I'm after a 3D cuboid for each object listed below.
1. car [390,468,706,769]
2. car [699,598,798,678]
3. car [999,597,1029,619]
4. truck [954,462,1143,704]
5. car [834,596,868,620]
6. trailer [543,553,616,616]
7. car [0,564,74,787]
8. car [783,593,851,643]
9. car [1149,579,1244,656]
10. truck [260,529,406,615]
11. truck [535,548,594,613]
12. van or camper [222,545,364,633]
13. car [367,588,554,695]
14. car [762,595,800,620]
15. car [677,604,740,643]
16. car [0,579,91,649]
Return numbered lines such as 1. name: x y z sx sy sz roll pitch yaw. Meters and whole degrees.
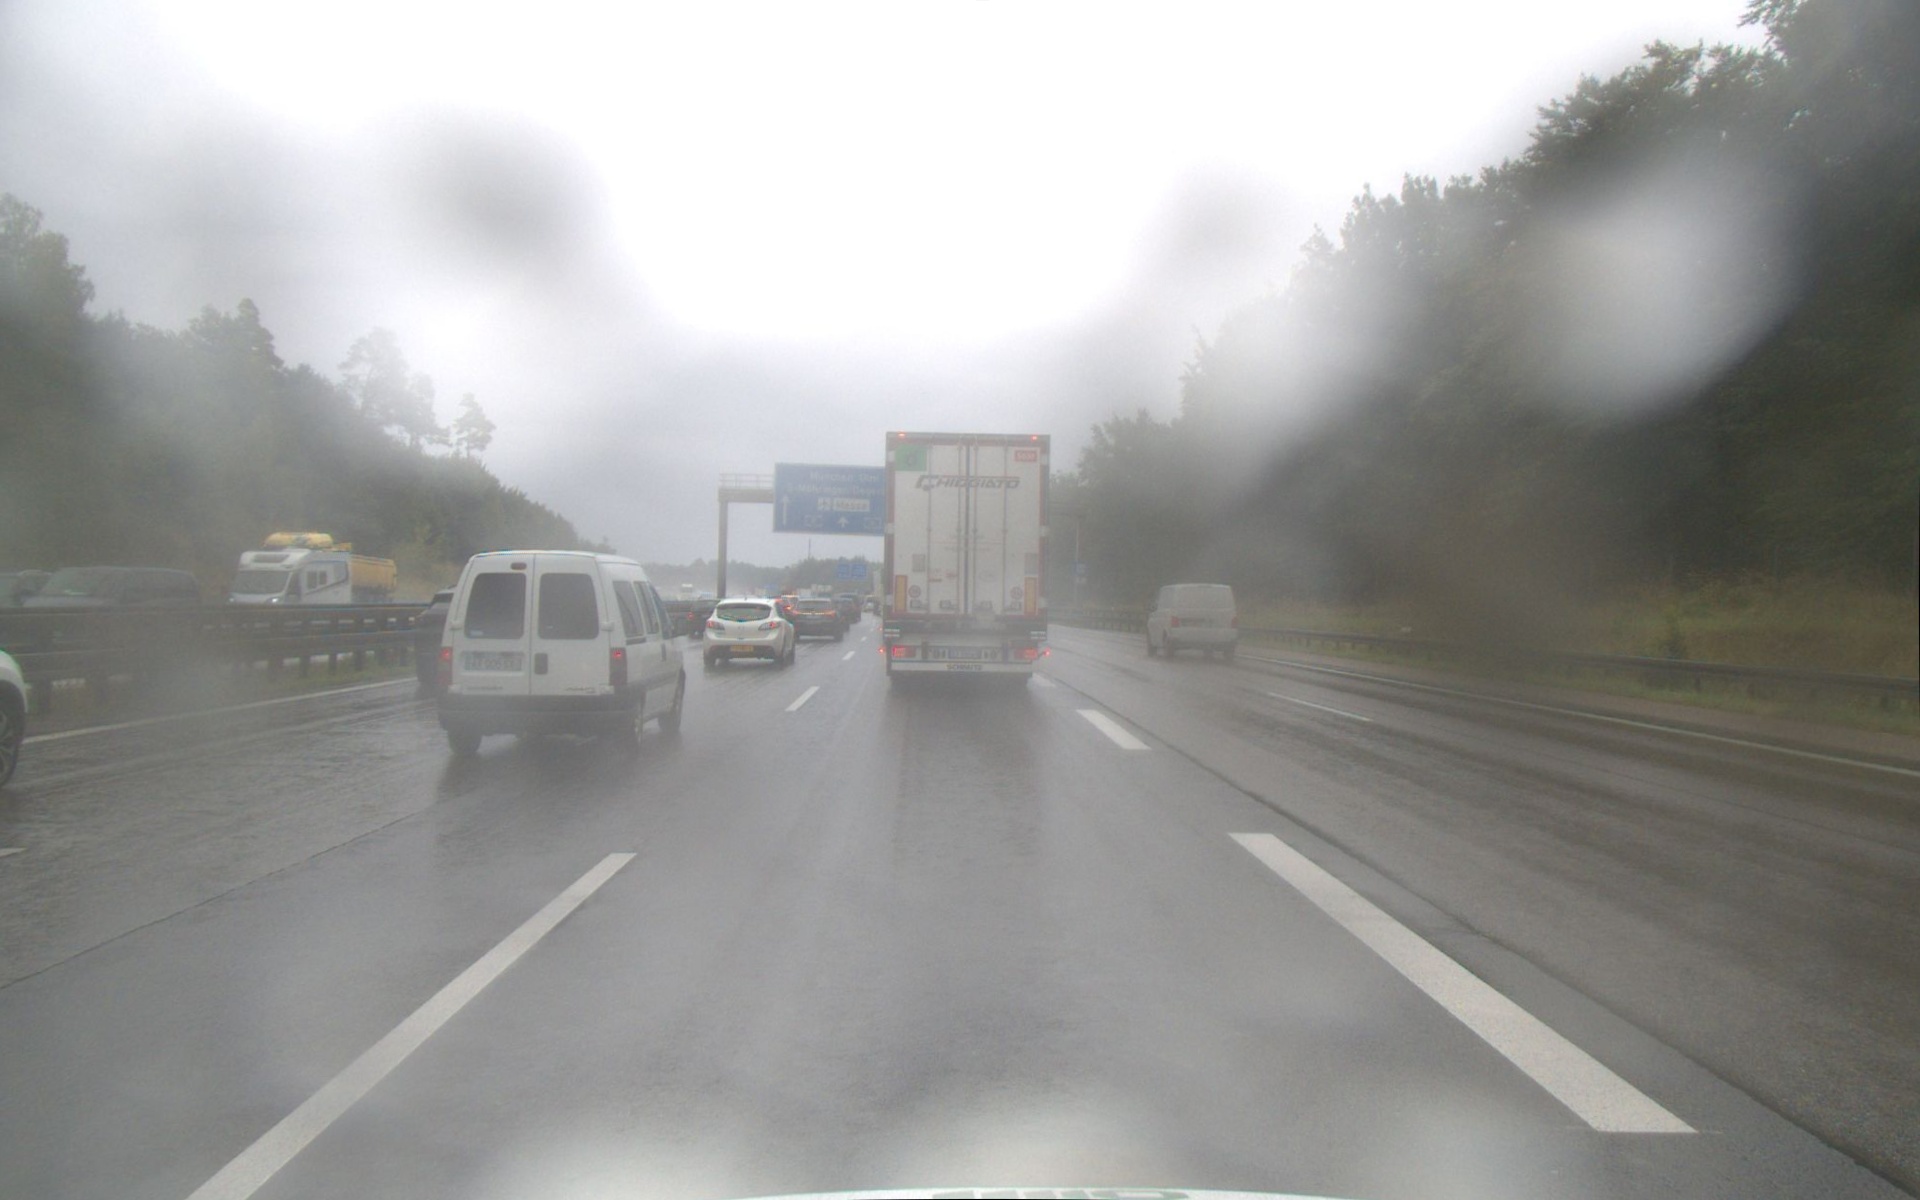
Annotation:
1. car: -4.002 0.140 17.061 2.168 2.618 5.013 1 0 -3
2. car: -4.666 0.797 37.014 1.808 1.619 4.070 1 1 -2
3. car: 3.710 0.522 113.817 1.754 1.431 4.226 1 0 -2
4. truck: 1.462 -0.250 30.727 2.813 3.624 11.303 1 0 1
5. car: -6.470 0.452 98.239 1.808 1.354 4.465 1 1 -1
6. trailer: -26.268 -1.027 114.733 2.490 4.096 13.842 1 0 -3
7. car: -7.838 0.545 10.730 1.808 1.619 4.466 1 1 -1
8. car: -4.912 0.592 57.467 1.807 1.619 4.468 1 1 2
9. car: 6.393 0.427 45.172 1.949 1.954 4.768 1 1 1
10. truck: -28.172 -1.182 75.010 2.468 3.544 11.715 1 0 -2
11. truck: -25.860 -1.246 108.404 2.489 4.096 6.321 1 0 -2
12. van or camper: -23.806 -0.386 59.429 2.123 2.920 7.998 1 0 -2
13. car: -8.291 0.632 27.887 1.808 1.619 4.466 1 1 0
14. car: -10.318 0.403 95.540 1.808 1.354 4.465 1 1 -1
15. car: -9.565 0.854 63.099 1.808 1.354 4.465 1 1 -1
16. car: -22.799 0.301 39.702 1.808 1.607 3.999 1 0 -1
